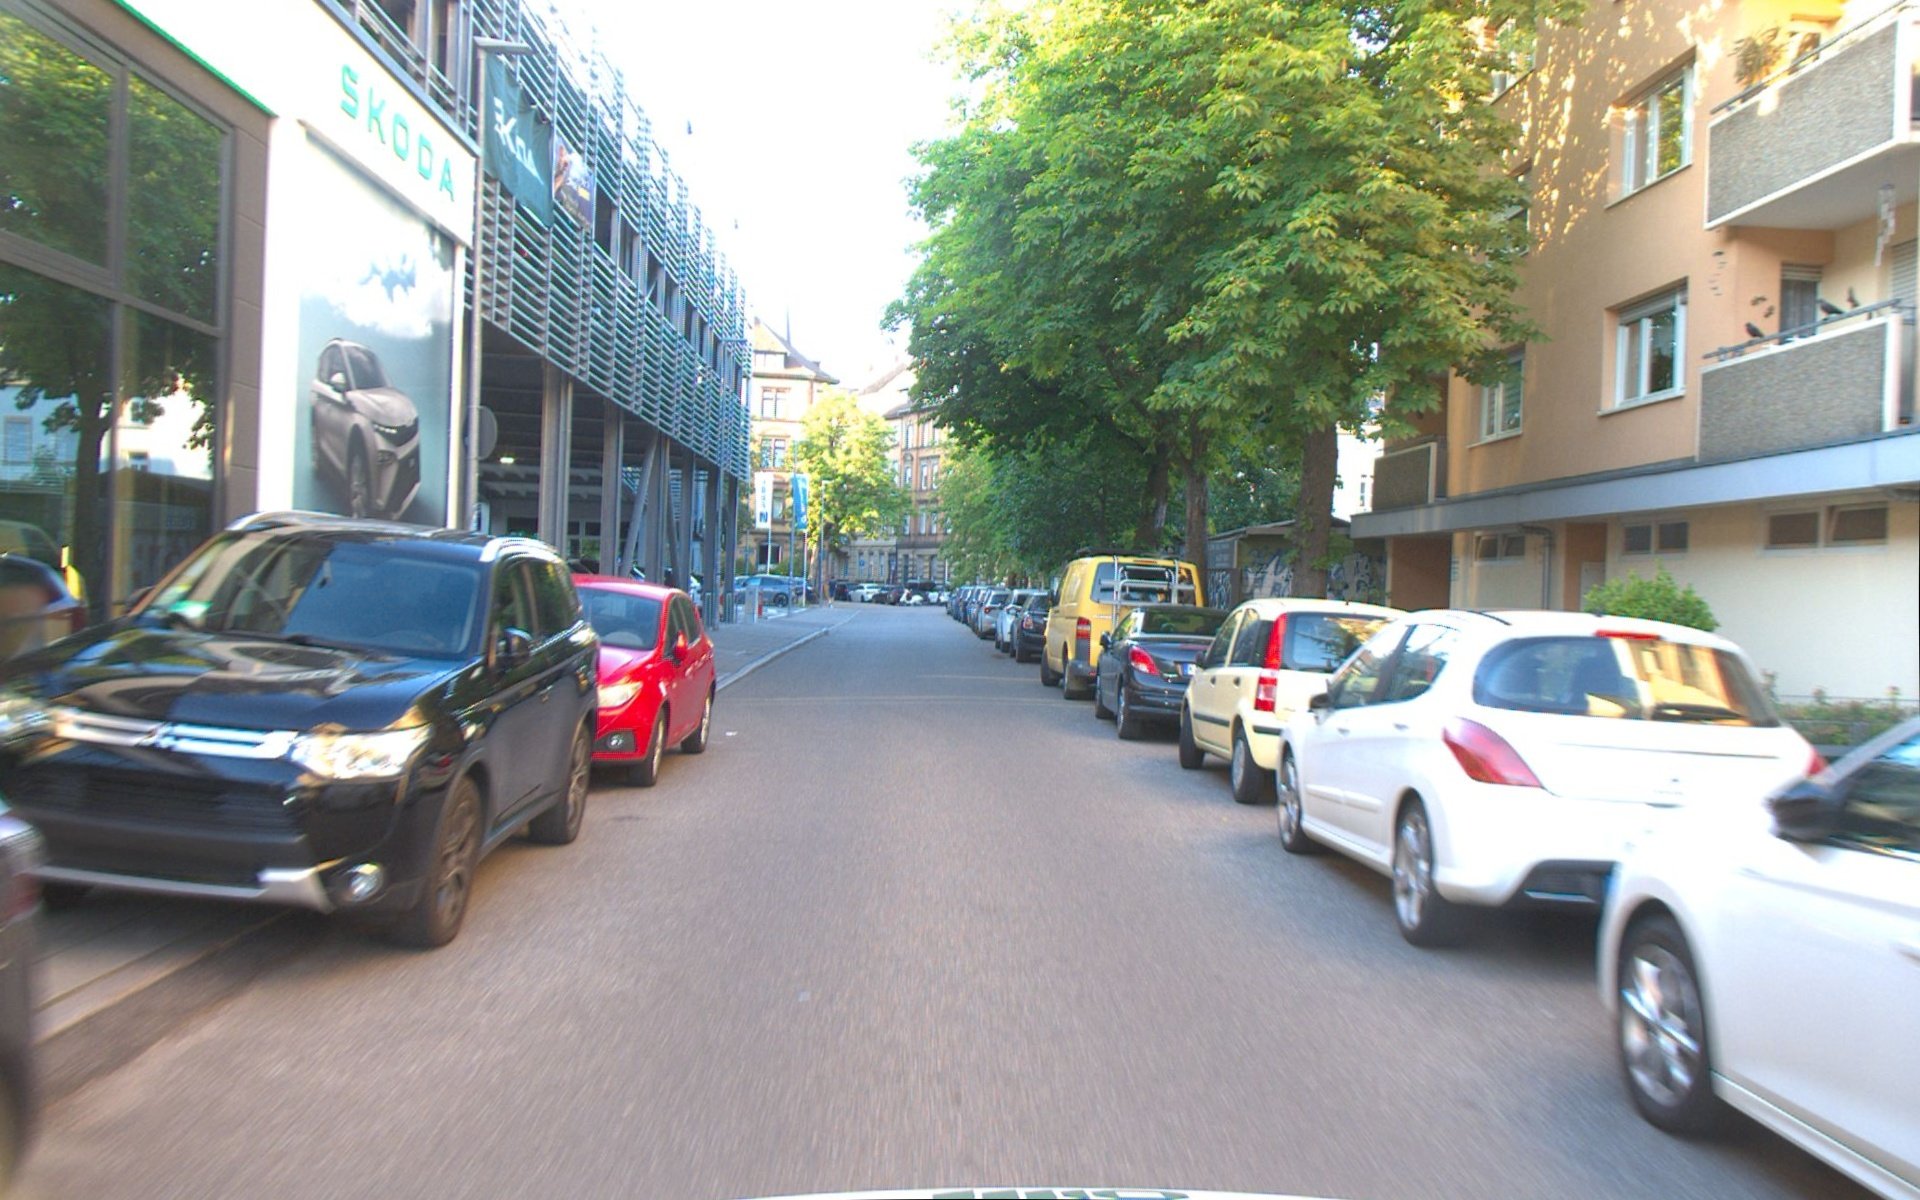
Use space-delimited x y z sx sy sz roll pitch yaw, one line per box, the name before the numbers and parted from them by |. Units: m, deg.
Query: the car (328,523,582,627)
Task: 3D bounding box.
car | -9.218 -0.471 30.417 4.065 1.713 1.860 2 2 -1

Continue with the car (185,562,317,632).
car | -14.315 -0.086 33.524 1.330 1.276 3.213 2 2 -2

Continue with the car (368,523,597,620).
car | -9.343 -0.573 32.610 3.944 1.713 1.860 2 2 -1

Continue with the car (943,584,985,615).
car | 0.191 -0.068 86.785 1.662 1.502 4.207 2 1 -7

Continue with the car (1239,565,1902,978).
car | 2.785 0.642 8.663 1.756 1.590 4.192 2 1 -2

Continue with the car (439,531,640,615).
car | -9.442 -0.626 37.372 4.019 1.713 1.860 2 2 -1

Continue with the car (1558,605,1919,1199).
car | 2.920 0.831 3.635 1.577 1.486 4.053 2 1 -2

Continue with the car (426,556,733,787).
car | -2.850 0.445 13.165 1.663 1.532 3.789 2 1 -2

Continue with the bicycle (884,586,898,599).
bicycle | -4.719 -0.529 112.808 0.416 0.836 1.462 2 2 20

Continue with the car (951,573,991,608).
car | 0.500 -0.459 77.424 1.661 1.502 4.116 2 1 -2

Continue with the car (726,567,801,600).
car | -10.792 -0.930 91.022 3.987 1.646 1.764 2 2 -4

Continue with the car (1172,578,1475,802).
car | 2.838 0.628 13.632 1.577 1.537 3.477 2 1 -2

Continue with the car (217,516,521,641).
car | -8.978 -0.341 25.376 3.953 1.713 1.860 2 2 -1

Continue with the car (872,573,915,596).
car | -4.785 -1.136 118.222 1.634 1.455 3.959 2 2 -25

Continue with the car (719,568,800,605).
car | -10.592 -0.719 87.657 4.048 1.645 1.912 4 1 -4

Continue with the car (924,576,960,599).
car | -1.378 -0.946 123.413 1.654 1.552 2.745 2 1 -26

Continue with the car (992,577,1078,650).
car | 1.738 0.276 39.589 1.687 1.546 4.024 2 2 -2

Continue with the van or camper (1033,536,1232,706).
van or camper | 2.351 0.195 23.956 2.023 2.132 5.088 2 2 -3

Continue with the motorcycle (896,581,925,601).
motorcycle | -3.459 -0.620 114.969 1.898 1.364 0.575 2 1 -13

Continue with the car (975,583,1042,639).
car | 1.427 0.302 50.056 1.724 1.467 4.005 2 2 -2

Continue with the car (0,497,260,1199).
car | -2.450 0.655 1.409 1.897 1.624 4.205 2 2 0

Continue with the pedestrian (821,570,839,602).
pedestrian | -7.697 -0.815 97.843 0.725 1.835 1.114 1 2 -22

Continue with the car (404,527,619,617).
car | -9.467 -0.610 35.138 4.001 1.713 1.860 2 2 -1

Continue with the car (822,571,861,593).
car | -9.090 -1.401 126.928 1.634 1.455 3.865 2 2 -26

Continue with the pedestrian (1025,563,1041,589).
pedestrian | 5.221 -1.718 118.114 0.829 1.835 0.771 1 1 -22

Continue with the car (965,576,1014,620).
car | 1.138 -0.106 65.863 1.724 1.632 3.872 2 1 -2

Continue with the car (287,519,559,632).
car | -9.017 -0.423 28.014 3.953 1.713 1.860 2 2 -1

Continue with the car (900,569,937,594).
car | -3.190 -1.438 126.800 1.654 1.813 2.990 2 1 -26

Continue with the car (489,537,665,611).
car | -9.721 -0.669 42.238 4.019 1.713 1.860 2 2 -1

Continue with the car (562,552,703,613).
car | -10.182 -0.564 51.639 3.997 1.713 1.860 2 2 -1

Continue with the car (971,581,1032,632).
car | 1.344 0.190 54.928 1.724 1.479 4.391 2 2 -2

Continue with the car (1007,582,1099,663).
car | 1.885 0.431 34.221 1.531 1.475 3.452 2 2 -2

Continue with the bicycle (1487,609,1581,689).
bicycle | 7.616 0.630 22.014 0.513 0.937 1.834 2 2 -3

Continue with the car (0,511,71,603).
car | -13.938 -0.616 22.903 1.391 1.276 3.526 2 2 -2

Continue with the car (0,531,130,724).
car | -8.245 0.184 12.954 1.663 1.499 3.780 2 1 -2

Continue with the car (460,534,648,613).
car | -9.712 -0.654 39.742 4.019 1.713 1.860 2 2 -1

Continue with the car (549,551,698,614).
car | -9.952 -0.533 49.092 4.004 1.713 1.860 2 2 -1

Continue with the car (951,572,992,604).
car | 0.554 -0.594 82.385 1.662 1.502 3.556 2 1 -5

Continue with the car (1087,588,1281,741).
car | 2.406 0.635 18.635 1.574 1.405 4.000 2 2 -1

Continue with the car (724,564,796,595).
car | -11.482 -1.191 95.107 3.968 1.500 1.918 4 2 -6

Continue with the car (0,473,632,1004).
car | -2.777 0.426 7.857 1.663 1.786 4.402 2 1 -2

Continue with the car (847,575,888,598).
car | -6.896 -1.027 122.522 1.633 1.455 4.137 2 2 -24

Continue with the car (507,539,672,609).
car | -9.888 -0.706 44.378 3.982 1.713 1.860 2 2 -1

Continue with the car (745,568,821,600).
car | -11.445 -1.050 106.600 4.739 1.762 1.917 3 2 -8
